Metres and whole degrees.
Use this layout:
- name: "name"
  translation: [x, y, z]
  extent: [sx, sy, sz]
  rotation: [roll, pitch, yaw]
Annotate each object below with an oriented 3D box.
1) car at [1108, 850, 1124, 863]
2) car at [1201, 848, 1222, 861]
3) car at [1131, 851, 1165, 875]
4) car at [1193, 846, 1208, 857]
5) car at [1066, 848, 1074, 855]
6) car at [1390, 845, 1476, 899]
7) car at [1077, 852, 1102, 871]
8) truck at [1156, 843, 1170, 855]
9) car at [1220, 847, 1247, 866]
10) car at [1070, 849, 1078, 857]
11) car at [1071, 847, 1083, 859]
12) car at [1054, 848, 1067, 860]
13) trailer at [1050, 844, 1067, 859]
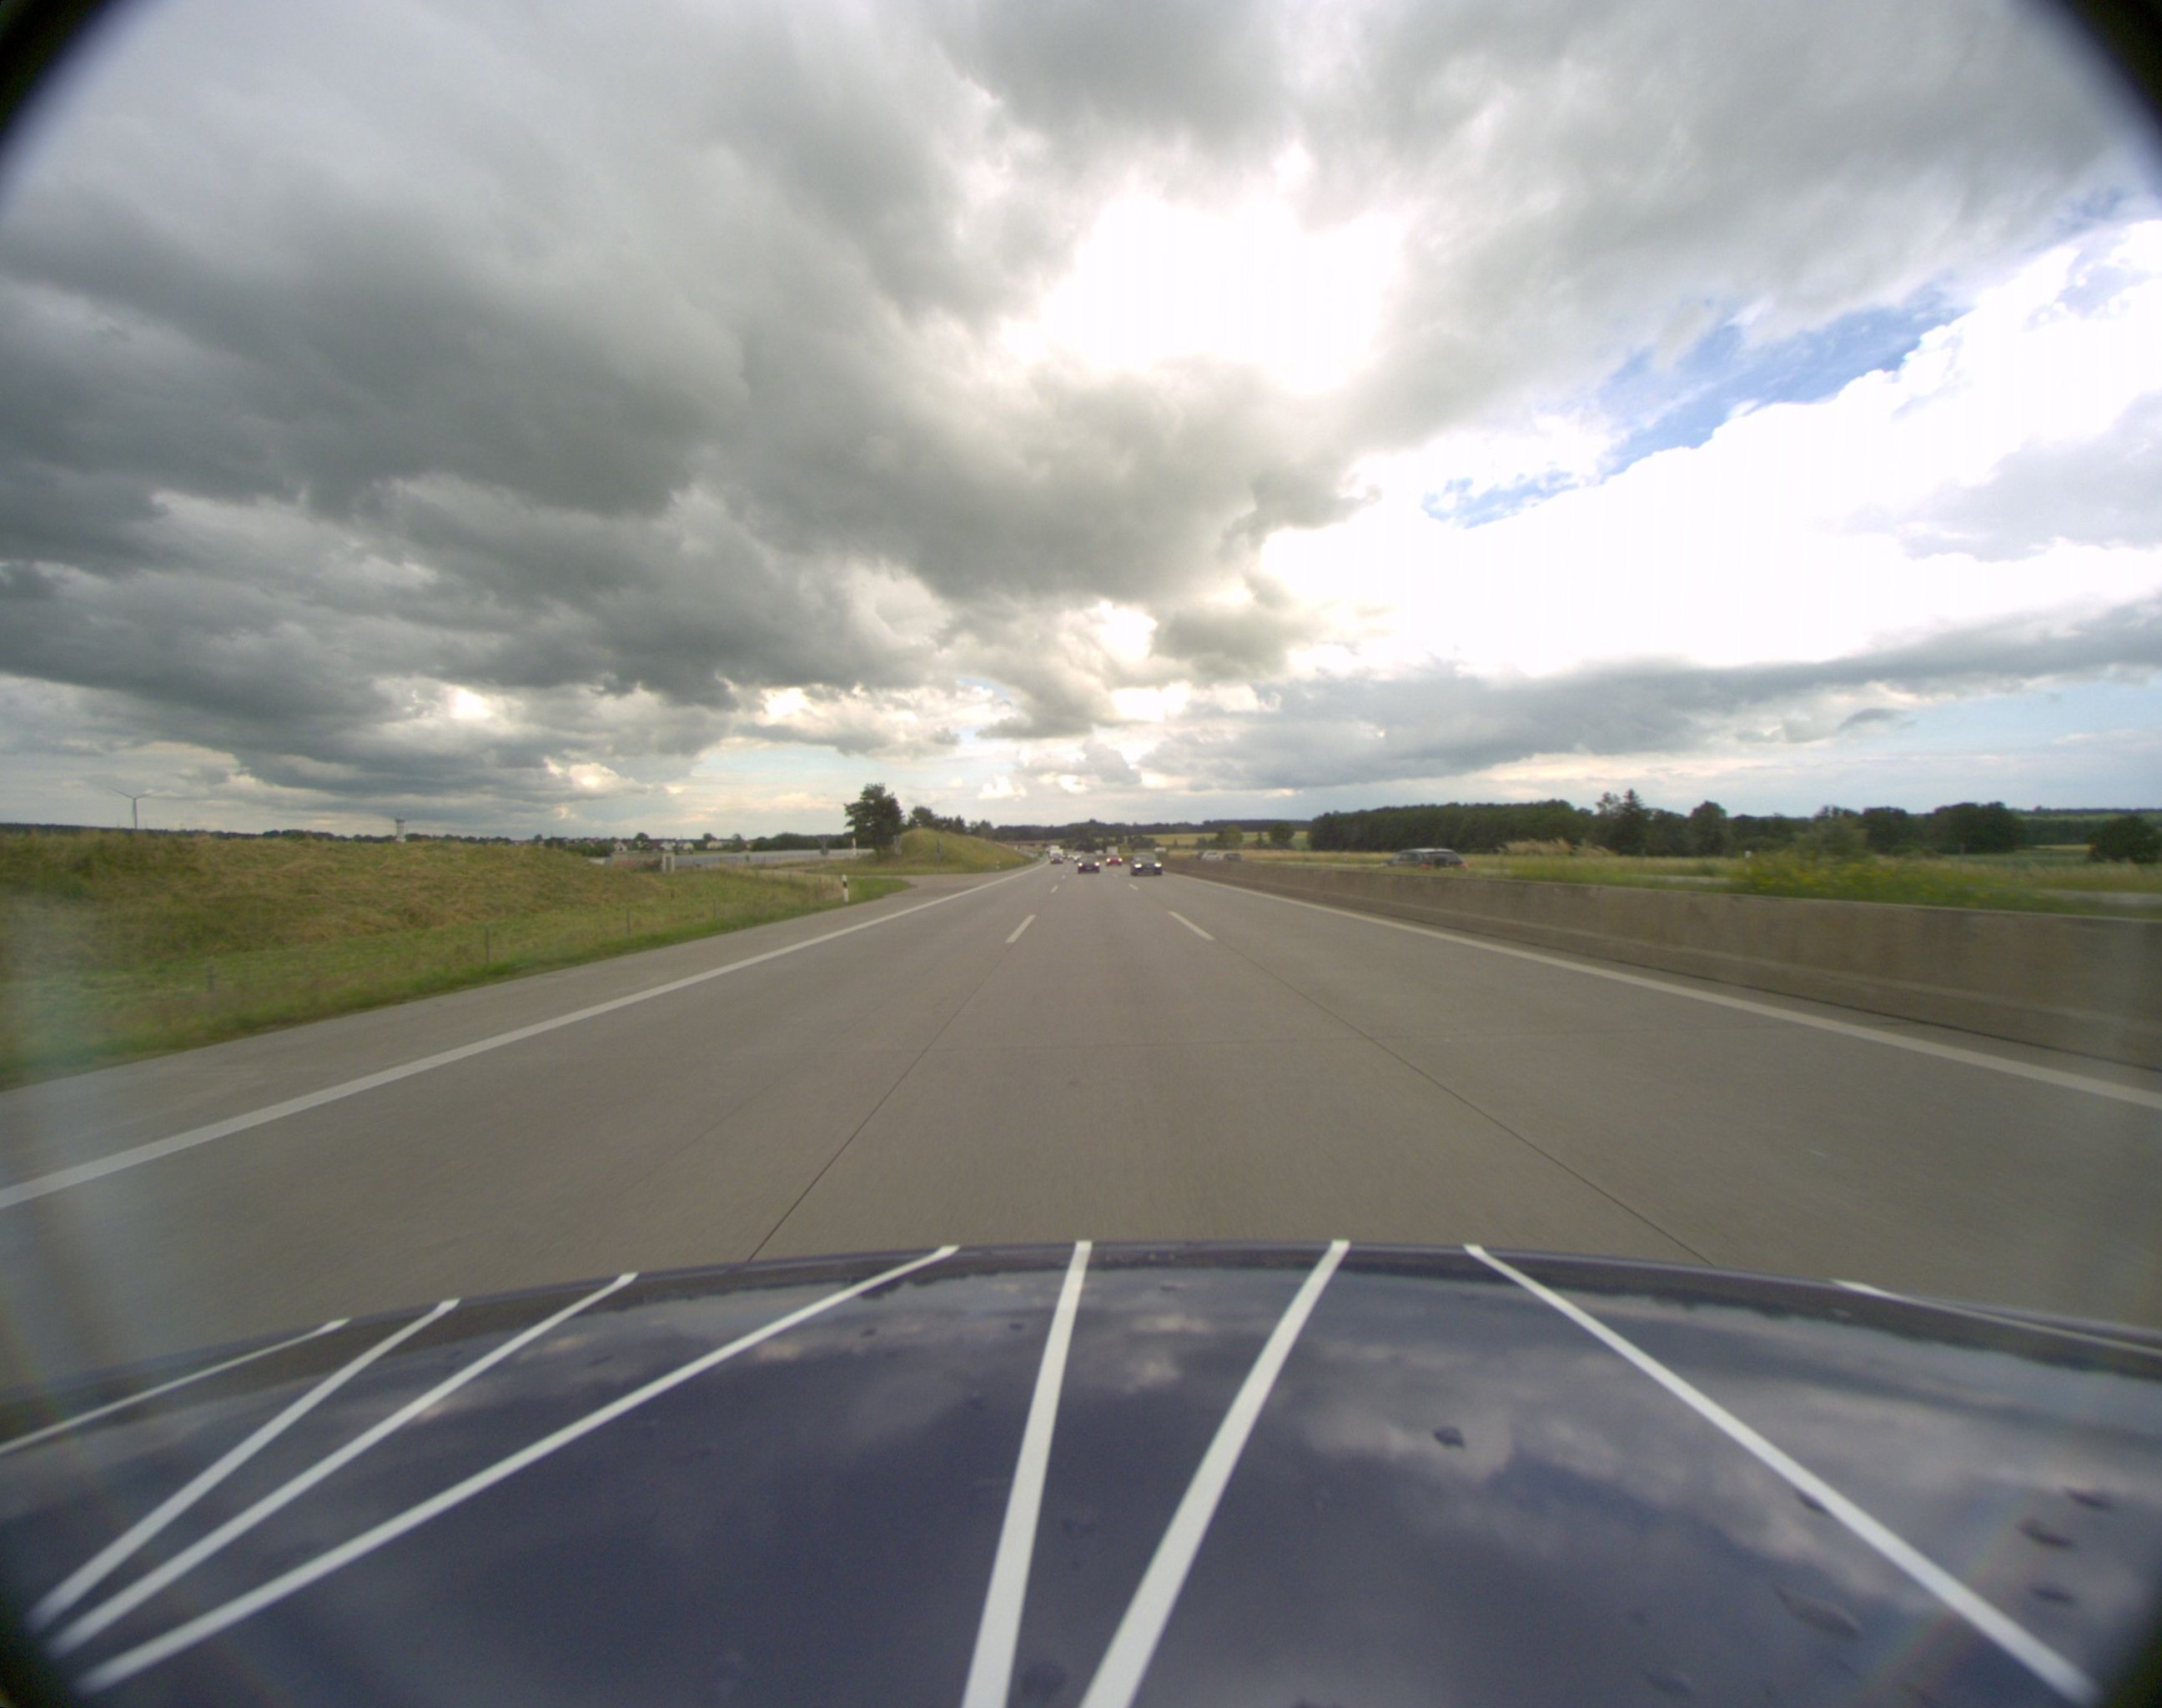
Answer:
- name: "car"
  translation: [4.180, 0.306, 91.245]
  extent: [1.822, 1.364, 3.782]
  rotation: [-3, 1, 1]
- name: "car"
  translation: [15.981, 0.037, 93.395]
  extent: [1.782, 1.498, 4.516]
  rotation: [-2, 1, 0]
- name: "car"
  translation: [4.356, 0.578, 50.046]
  extent: [1.939, 1.464, 4.000]
  rotation: [-2, 0, 1]
- name: "car"
  translation: [19.429, -0.446, 123.727]
  extent: [1.753, 1.631, 4.943]
  rotation: [-2, 0, 0]
- name: "car"
  translation: [-3.356, -0.727, 232.291]
  extent: [1.999, 2.002, 3.998]
  rotation: [-2, 1, -3]
- name: "car"
  translation: [12.388, 0.582, 26.933]
  extent: [1.554, 1.638, 3.258]
  rotation: [-2, 2, 1]
- name: "car"
  translation: [0.645, 0.605, 61.247]
  extent: [1.691, 1.405, 3.998]
  rotation: [-2, 1, -4]
- name: "truck"
  translation: [18.756, -1.068, 174.333]
  extent: [2.150, 2.552, 7.446]
  rotation: [-2, 1, -1]
- name: "car"
  translation: [12.785, 0.203, 63.852]
  extent: [1.620, 1.463, 3.099]
  rotation: [-3, 0, 1]
- name: "car"
  translation: [-1.889, -0.366, 201.406]
  extent: [1.810, 2.002, 3.841]
  rotation: [-3, 1, -3]
- name: "car"
  translation: [-0.764, -0.096, 132.399]
  extent: [1.999, 2.002, 3.999]
  rotation: [-2, 0, -1]
- name: "car"
  translation: [-3.557, -0.034, 128.573]
  extent: [1.944, 1.799, 5.029]
  rotation: [-2, 1, -4]
- name: "trailer"
  translation: [-3.970, -0.450, 134.431]
  extent: [2.616, 2.520, 6.718]
  rotation: [-2, 1, -4]
